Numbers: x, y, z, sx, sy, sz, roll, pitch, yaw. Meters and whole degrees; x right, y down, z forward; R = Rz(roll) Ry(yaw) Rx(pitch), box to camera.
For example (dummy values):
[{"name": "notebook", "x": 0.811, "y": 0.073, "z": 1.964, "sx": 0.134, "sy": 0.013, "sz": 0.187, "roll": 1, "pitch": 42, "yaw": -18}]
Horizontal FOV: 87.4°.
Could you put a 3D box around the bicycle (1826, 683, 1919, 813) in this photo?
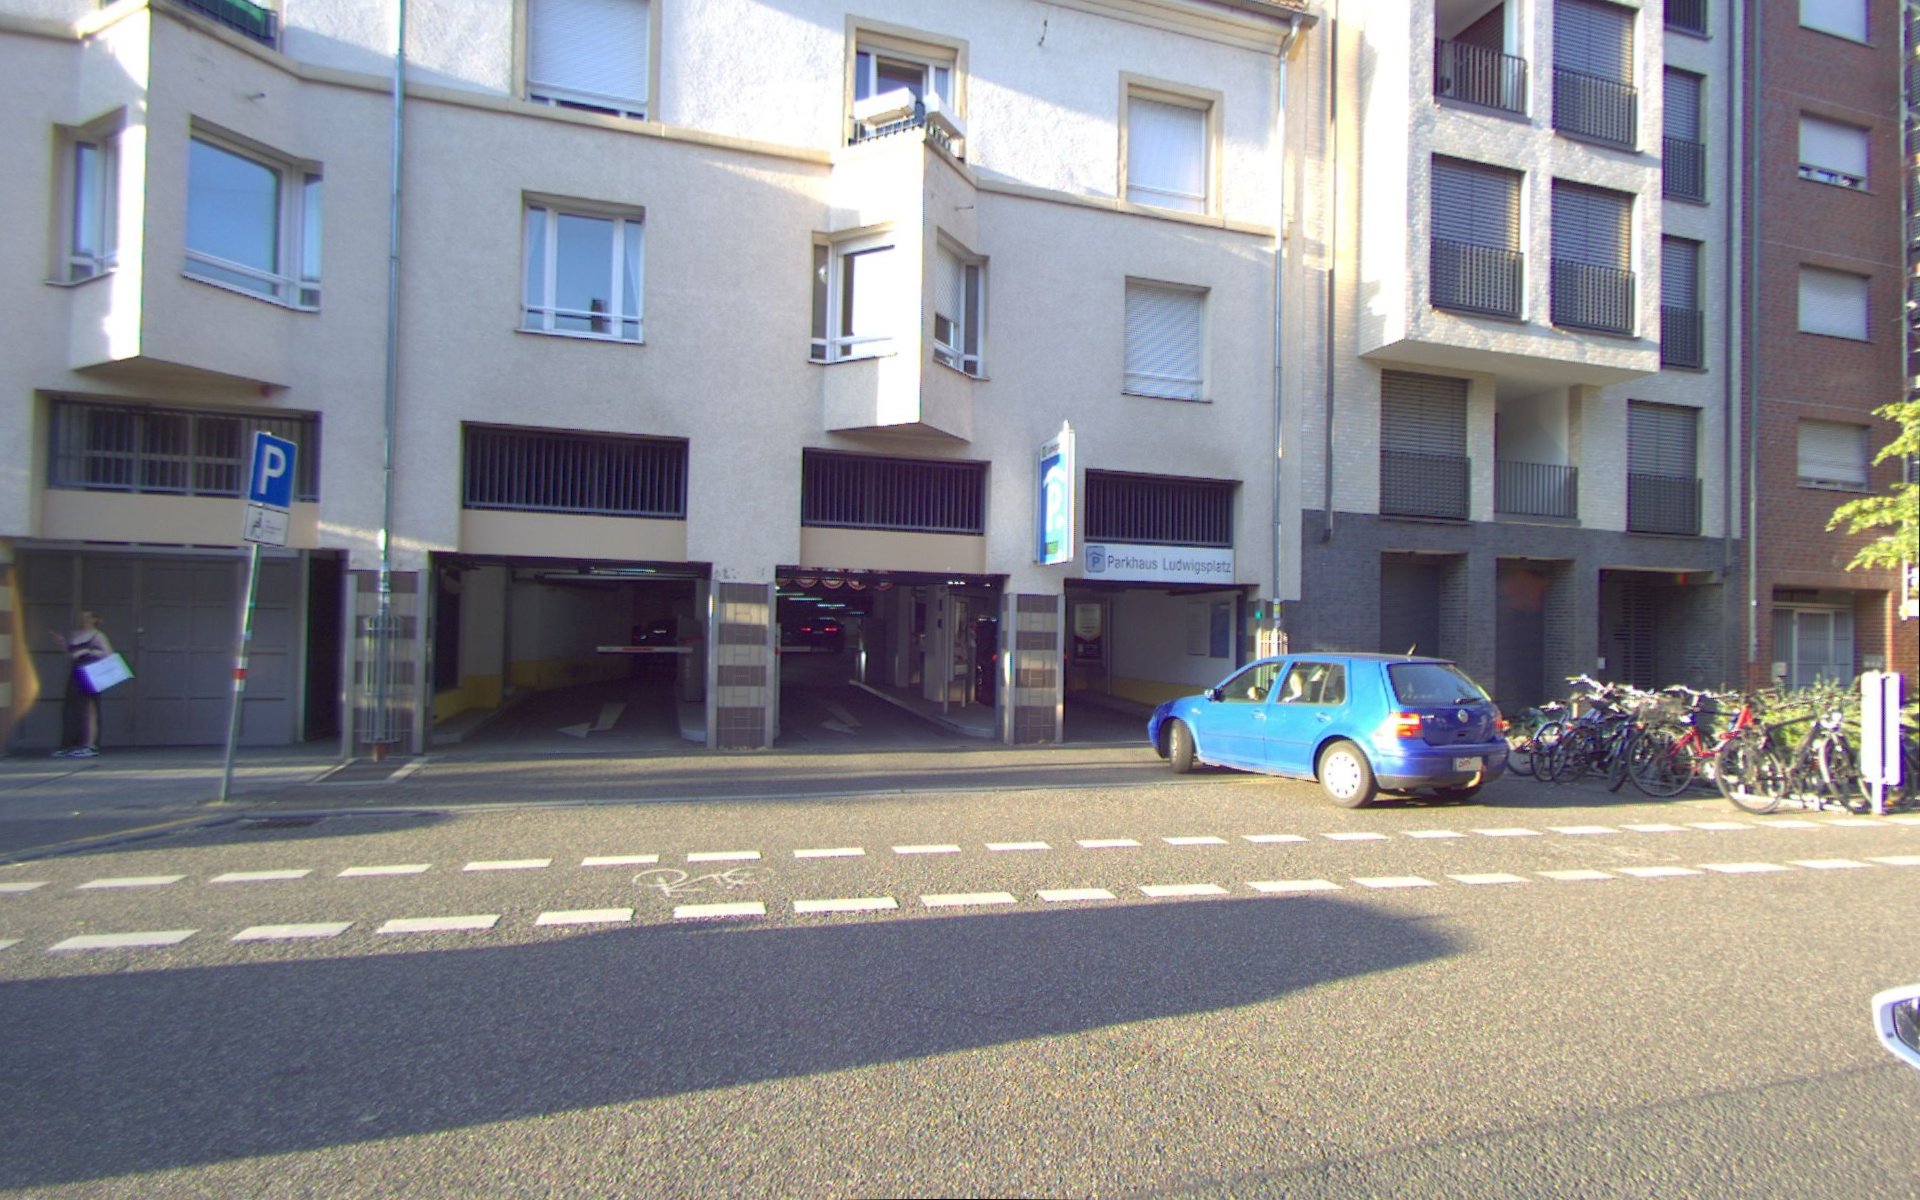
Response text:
[{"name": "bicycle", "x": 9.368, "y": 1.434, "z": 9.916, "sx": 1.527, "sy": 1.194, "sz": 0.507, "roll": 2, "pitch": -1, "yaw": -17}]

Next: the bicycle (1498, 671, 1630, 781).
[{"name": "bicycle", "x": 6.984, "y": 1.435, "z": 11.606, "sx": 1.527, "sy": 1.205, "sz": 0.386, "roll": 2, "pitch": -1, "yaw": -17}]

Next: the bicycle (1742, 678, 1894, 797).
[{"name": "bicycle", "x": 9.130, "y": 1.440, "z": 10.687, "sx": 1.527, "sy": 1.178, "sz": 0.487, "roll": 2, "pitch": -1, "yaw": -17}]

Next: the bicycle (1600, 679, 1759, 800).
[{"name": "bicycle", "x": 7.407, "y": 1.421, "z": 10.346, "sx": 1.525, "sy": 1.172, "sz": 0.417, "roll": 2, "pitch": -1, "yaw": -12}]

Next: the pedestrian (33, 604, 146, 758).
[{"name": "pedestrian", "x": -9.359, "y": 0.855, "z": 10.812, "sx": 0.763, "sy": 1.593, "sz": 0.534, "roll": 1, "pitch": -2, "yaw": 16}]

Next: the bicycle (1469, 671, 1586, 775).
[{"name": "bicycle", "x": 6.853, "y": 1.473, "z": 12.132, "sx": 1.383, "sy": 1.199, "sz": 0.387, "roll": 2, "pitch": -1, "yaw": -17}]

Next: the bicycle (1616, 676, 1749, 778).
[{"name": "bicycle", "x": 8.694, "y": 1.514, "z": 12.085, "sx": 1.527, "sy": 1.159, "sz": 0.467, "roll": 2, "pitch": -1, "yaw": -17}]

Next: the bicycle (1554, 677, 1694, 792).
[{"name": "bicycle", "x": 7.187, "y": 1.434, "z": 10.870, "sx": 1.527, "sy": 1.175, "sz": 0.380, "roll": 2, "pitch": -1, "yaw": -17}]

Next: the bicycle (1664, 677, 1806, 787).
[{"name": "bicycle", "x": 8.785, "y": 1.479, "z": 11.382, "sx": 1.527, "sy": 1.165, "sz": 0.487, "roll": 2, "pitch": -1, "yaw": -17}]

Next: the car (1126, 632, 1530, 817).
[{"name": "car", "x": 3.695, "y": 1.176, "z": 10.871, "sx": 1.672, "sy": 1.583, "sz": 4.091, "roll": 2, "pitch": -3, "yaw": -27}]

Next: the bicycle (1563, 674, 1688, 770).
[{"name": "bicycle", "x": 8.447, "y": 1.534, "z": 12.742, "sx": 1.527, "sy": 1.147, "sz": 0.457, "roll": 2, "pitch": -1, "yaw": -17}]

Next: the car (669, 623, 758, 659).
[{"name": "car", "x": -10.505, "y": 1.724, "z": 42.725, "sx": 3.818, "sy": 1.410, "sz": 1.603, "roll": 1, "pitch": -1, "yaw": 37}]

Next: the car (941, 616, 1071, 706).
[{"name": "car", "x": 0.837, "y": 1.164, "z": 20.500, "sx": 1.535, "sy": 1.639, "sz": 3.869, "roll": 1, "pitch": -1, "yaw": -15}]

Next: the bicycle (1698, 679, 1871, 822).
[{"name": "bicycle", "x": 7.705, "y": 1.377, "z": 9.386, "sx": 1.527, "sy": 1.236, "sz": 0.497, "roll": 2, "pitch": -1, "yaw": -17}]
